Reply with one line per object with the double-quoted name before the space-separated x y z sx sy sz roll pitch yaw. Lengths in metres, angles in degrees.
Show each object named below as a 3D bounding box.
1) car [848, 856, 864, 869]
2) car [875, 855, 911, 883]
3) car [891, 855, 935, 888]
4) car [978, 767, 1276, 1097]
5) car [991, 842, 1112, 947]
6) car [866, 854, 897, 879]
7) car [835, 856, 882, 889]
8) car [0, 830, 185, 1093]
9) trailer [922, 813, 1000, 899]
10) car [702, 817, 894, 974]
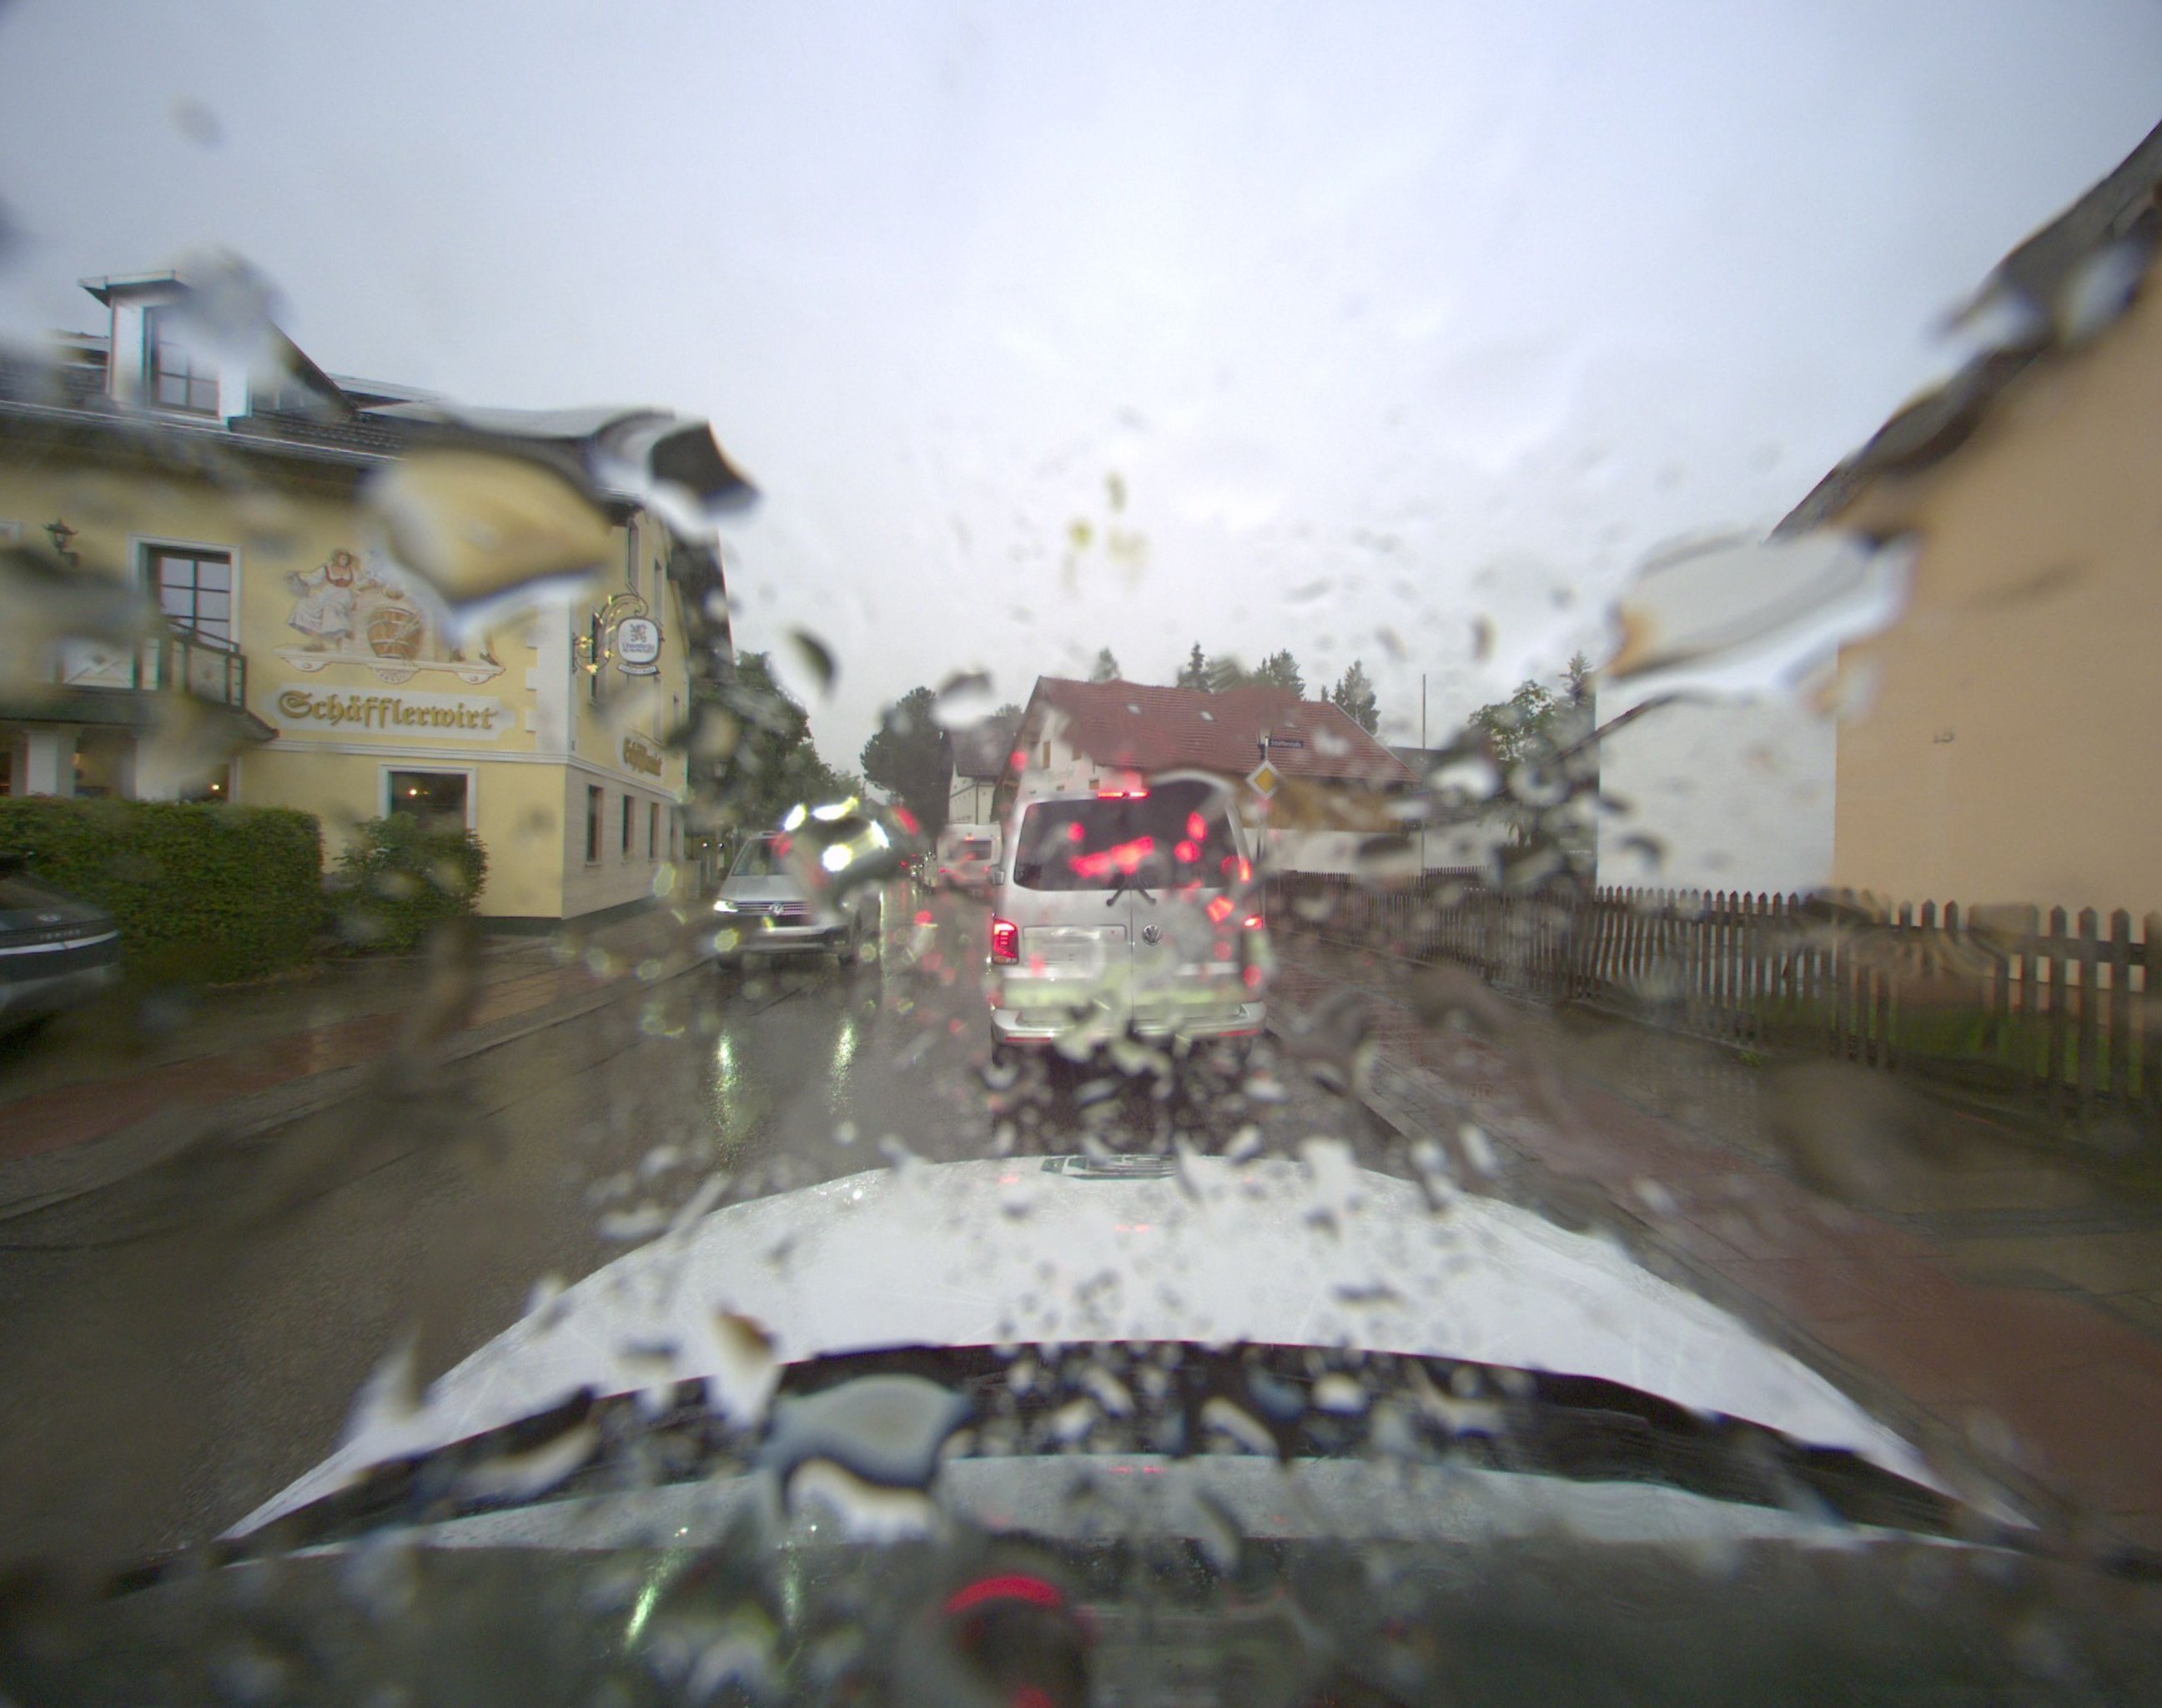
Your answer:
"car" -35.422 1.383 128.186 2.175 1.899 4.984 1 0 -18
"car" -13.779 1.073 59.415 2.175 1.899 4.984 1 0 -18
"car" -10.631 1.050 51.267 2.175 1.899 4.984 1 0 -18
"car" 0.357 0.482 7.461 1.770 1.963 5.076 -1 0 2
"car" -0.712 0.613 15.129 1.708 1.584 4.672 -2 1 -8
"car" -16.574 1.017 67.545 2.175 1.899 4.984 1 0 -18
"car" -10.500 0.808 38.252 1.867 1.359 4.455 -2 1 -18
"car" -9.053 0.572 4.911 4.490 1.567 1.827 3 1 -20
"trailer" -4.658 0.071 30.791 2.274 2.904 6.102 0 0 -14
"car" -4.183 0.553 12.870 1.849 1.971 4.690 -1 -1 -7
